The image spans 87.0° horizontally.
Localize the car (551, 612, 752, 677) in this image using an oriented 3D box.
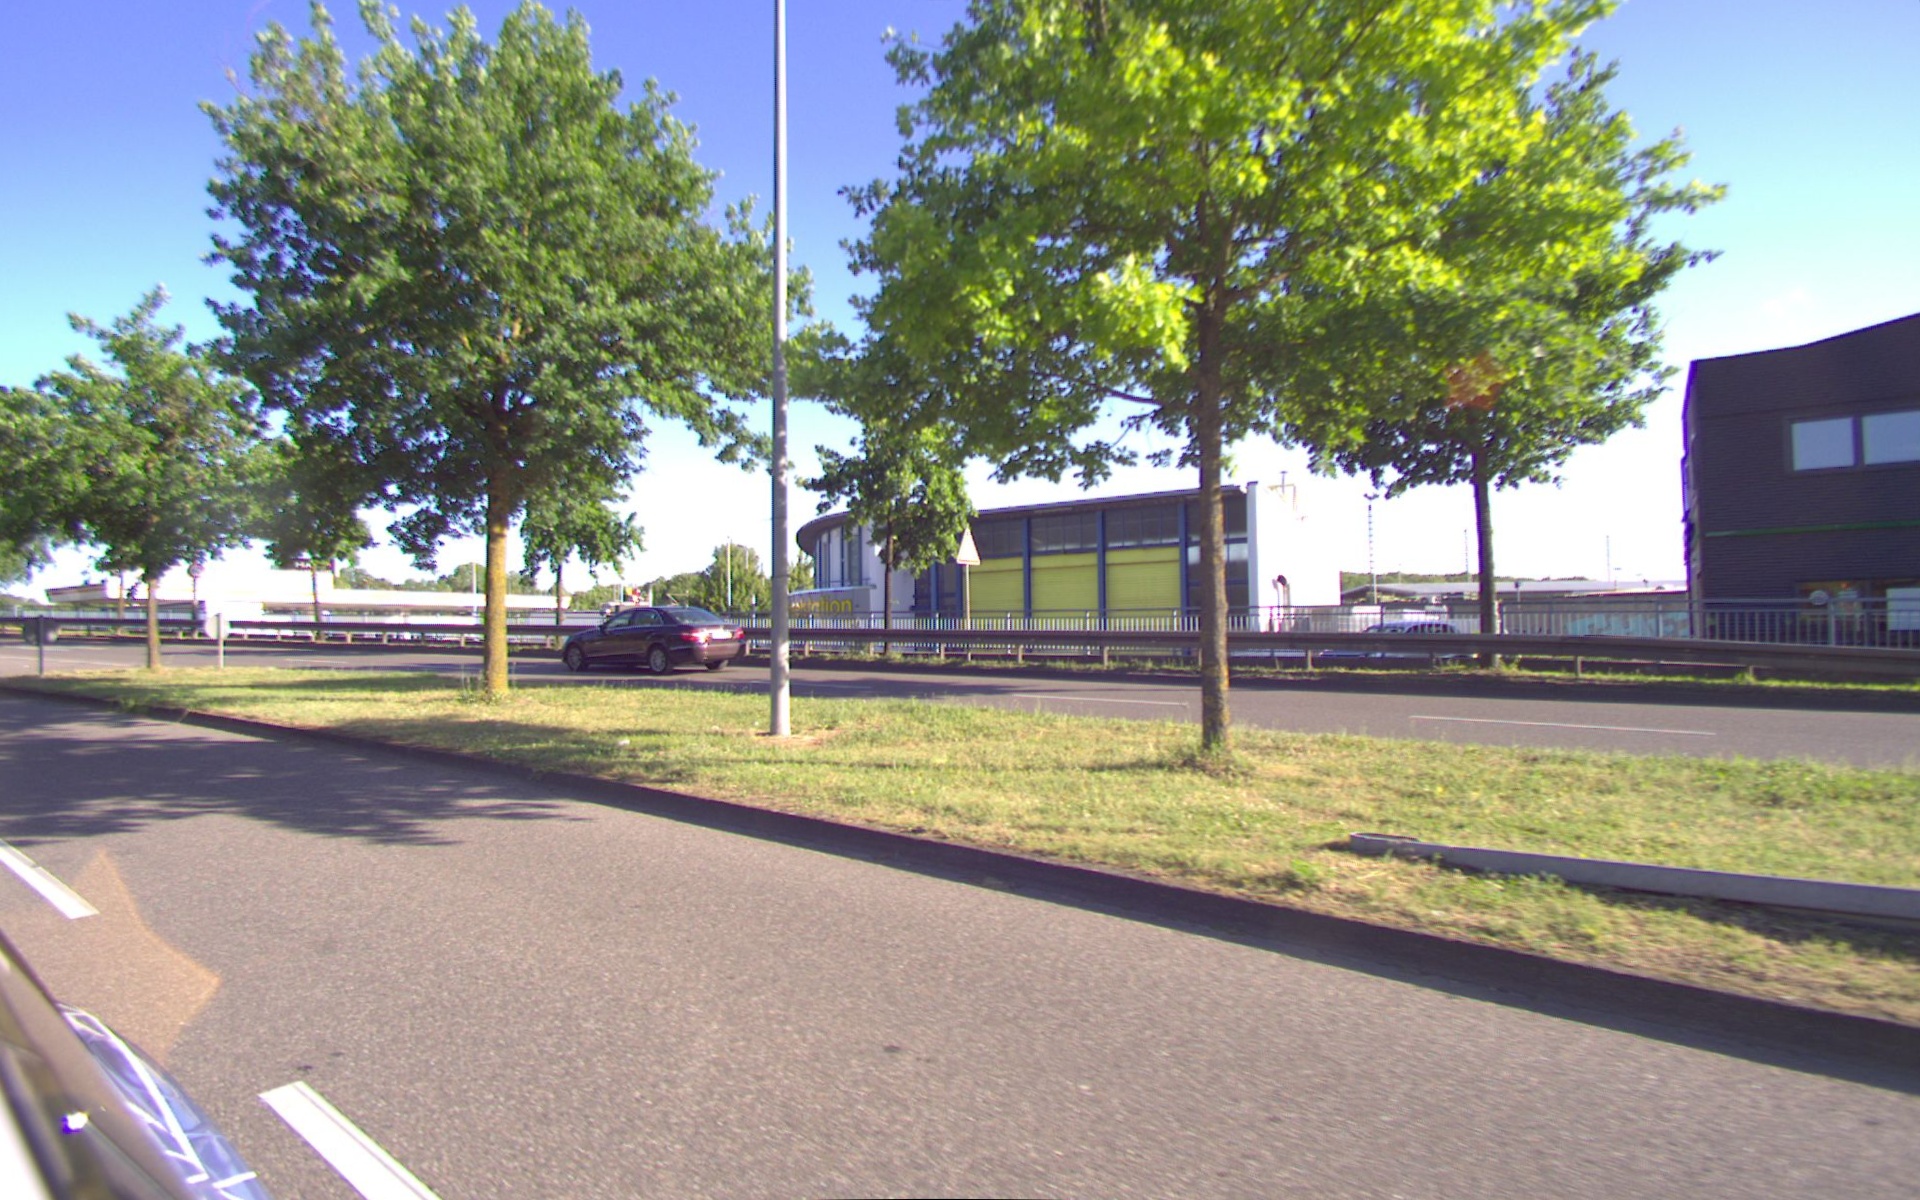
[{"bbox_3d":[-6.976,0.961,22.714,4.601,1.320,1.785,-1,-1,33],"label":"car"}]
